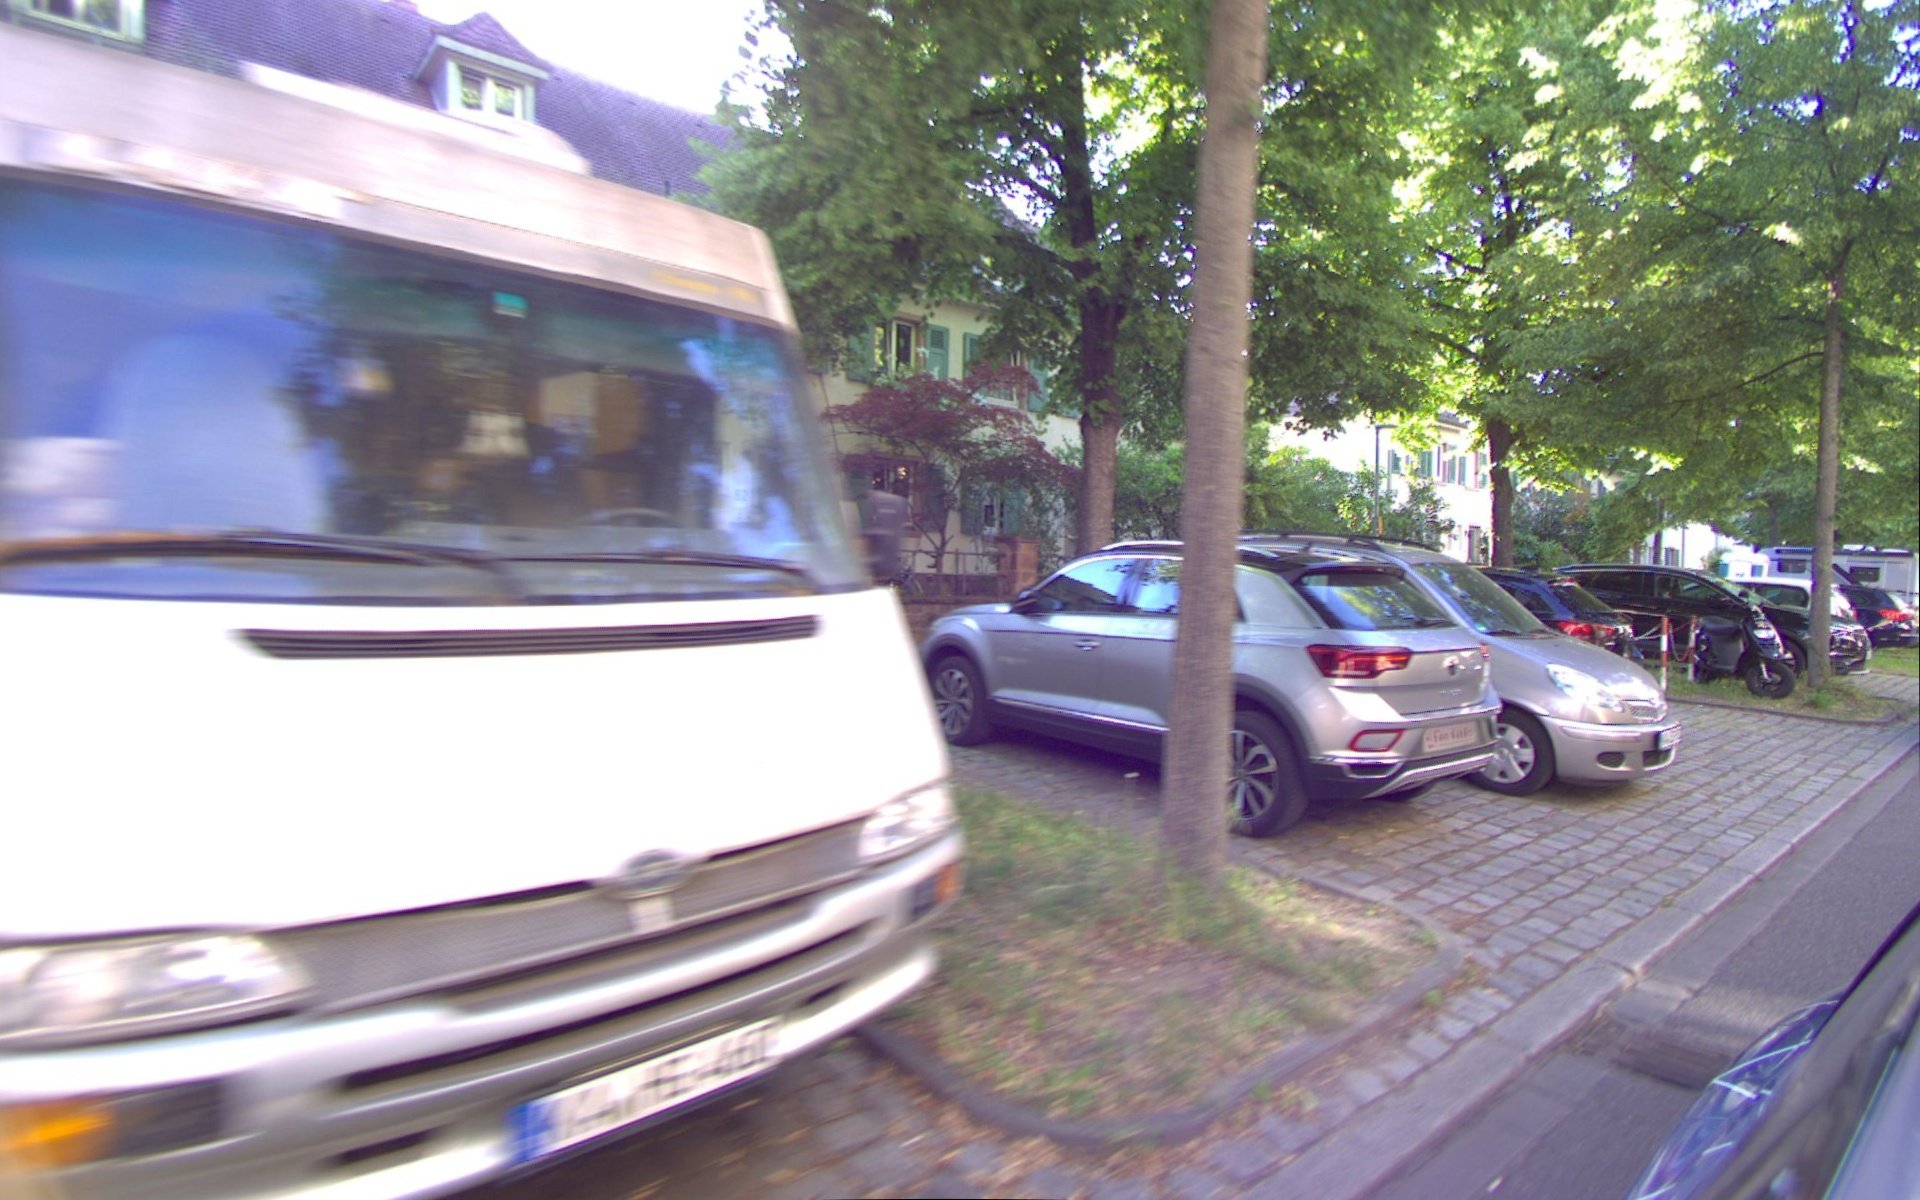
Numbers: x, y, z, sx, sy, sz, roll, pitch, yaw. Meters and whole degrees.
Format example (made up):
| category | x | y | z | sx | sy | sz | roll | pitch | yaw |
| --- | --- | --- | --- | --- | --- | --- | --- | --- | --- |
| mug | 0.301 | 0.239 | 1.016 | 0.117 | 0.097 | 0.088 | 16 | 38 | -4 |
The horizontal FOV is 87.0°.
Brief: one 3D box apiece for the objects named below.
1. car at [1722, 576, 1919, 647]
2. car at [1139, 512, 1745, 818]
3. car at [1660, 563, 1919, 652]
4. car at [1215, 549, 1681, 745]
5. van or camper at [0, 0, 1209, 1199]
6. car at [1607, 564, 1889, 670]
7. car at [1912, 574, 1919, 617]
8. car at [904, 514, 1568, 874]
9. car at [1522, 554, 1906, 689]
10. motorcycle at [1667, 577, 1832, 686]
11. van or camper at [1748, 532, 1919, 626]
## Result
| category | x | y | z | sx | sy | sz | roll | pitch | yaw |
| --- | --- | --- | --- | --- | --- | --- | --- | --- | --- |
| car | 21.670 | 0.215 | 25.211 | 1.967 | 1.537 | 3.992 | -2 | 3 | -43 |
| car | 3.521 | 0.245 | 8.021 | 1.699 | 1.765 | 3.925 | -1 | 5 | -40 |
| car | 17.691 | 0.086 | 21.344 | 1.721 | 1.495 | 4.471 | 0 | 4 | -39 |
| car | 4.792 | 0.300 | 10.314 | 1.759 | 1.490 | 3.879 | -2 | 5 | -45 |
| van or camper | -2.688 | -0.361 | 4.226 | 2.423 | 3.115 | 7.087 | 0 | 2 | -42 |
| car | 13.229 | 0.202 | 17.133 | 1.664 | 1.493 | 3.456 | 0 | 4 | -40 |
| car | 43.471 | -0.131 | 43.131 | 1.965 | 1.836 | 3.996 | 0 | 2 | -40 |
| car | 1.527 | 0.295 | 6.861 | 1.868 | 1.617 | 3.976 | -1 | 6 | -37 |
| car | 11.285 | 0.182 | 15.412 | 1.895 | 1.627 | 4.342 | -1 | 4 | -41 |
| motorcycle | 9.661 | 0.344 | 12.477 | 0.725 | 1.212 | 1.774 | 1 | 2 | 5 |
| van or camper | 30.597 | -0.715 | 33.095 | 2.385 | 2.939 | 7.264 | -2 | 3 | -40 |
